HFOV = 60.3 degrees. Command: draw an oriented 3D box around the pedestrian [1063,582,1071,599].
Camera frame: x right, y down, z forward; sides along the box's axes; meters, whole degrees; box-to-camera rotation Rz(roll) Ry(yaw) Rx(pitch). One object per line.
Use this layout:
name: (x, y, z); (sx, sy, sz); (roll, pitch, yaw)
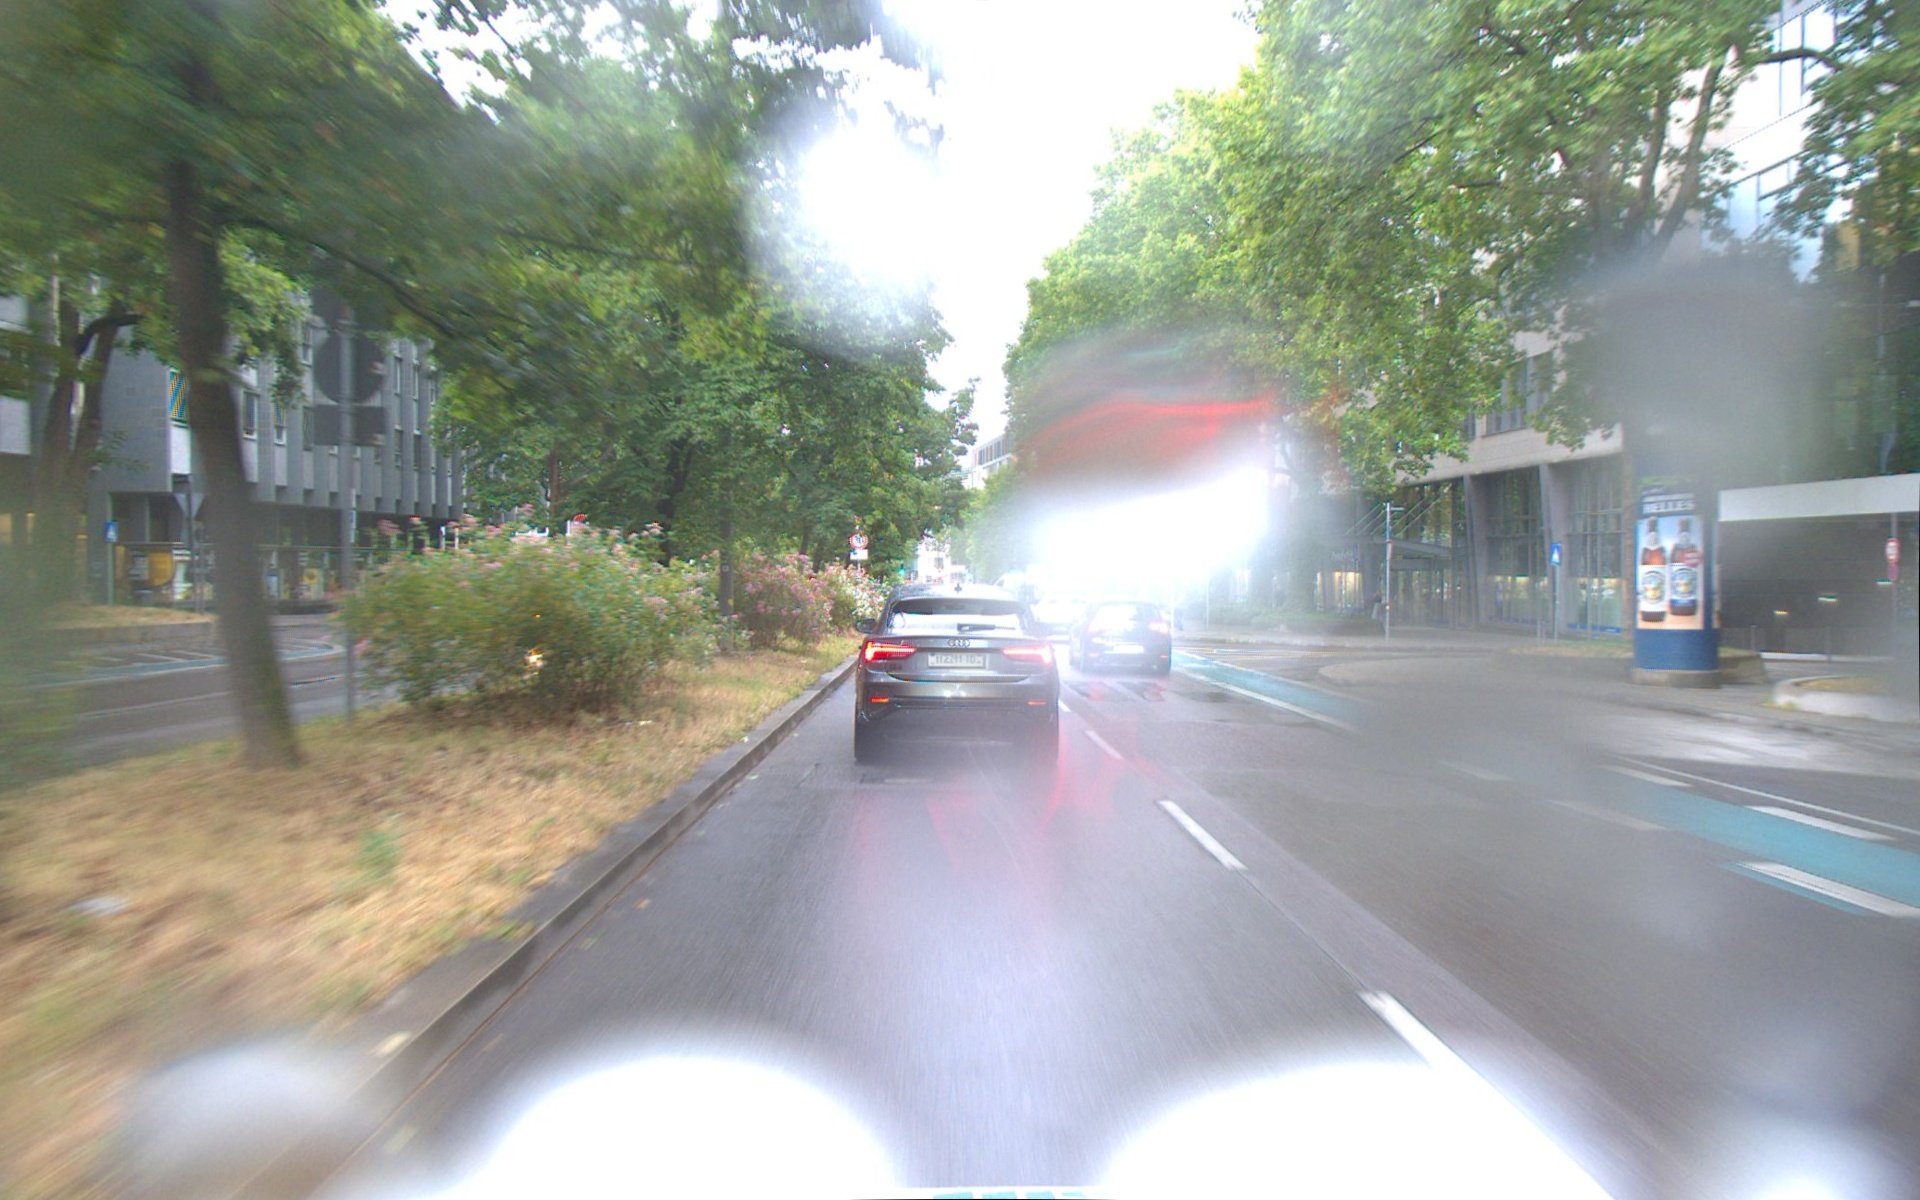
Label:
pedestrian: (11.301, -1.032, 174.938); (0.789, 1.726, 1.187); (1, 0, -1)

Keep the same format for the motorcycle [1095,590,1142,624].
motorcycle: (7.242, 0.316, 75.439); (2.025, 1.453, 0.724); (-2, 2, -23)

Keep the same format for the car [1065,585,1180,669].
car: (3.169, 0.489, 32.926); (1.812, 1.550, 4.038); (1, 0, -1)

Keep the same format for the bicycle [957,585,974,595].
bicycle: (0.751, -1.354, 226.230); (2.294, 1.335, 0.708); (0, 0, -9)

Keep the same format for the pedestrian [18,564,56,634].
pedestrian: (-23.233, -0.017, 41.650); (0.552, 1.738, 0.685); (1, 0, -1)

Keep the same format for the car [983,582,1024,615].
car: (2.130, -0.088, 81.439); (1.812, 1.550, 4.038); (1, 0, -1)

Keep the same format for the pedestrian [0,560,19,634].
pedestrian: (-24.044, -0.087, 41.530); (0.536, 1.838, 0.522); (1, 0, -1)

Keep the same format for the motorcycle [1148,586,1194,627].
motorcycle: (7.607, 0.215, 59.690); (0.672, 1.391, 1.936); (-3, 0, 39)

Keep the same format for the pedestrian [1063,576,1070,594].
pedestrian: (10.848, -1.489, 168.283); (0.542, 1.836, 0.761); (1, -1, -4)

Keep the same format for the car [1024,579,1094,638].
car: (2.995, 0.235, 50.765); (1.812, 1.698, 4.038); (1, 0, -1)

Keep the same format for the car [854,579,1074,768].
car: (-0.024, 0.593, 15.707); (1.812, 1.550, 4.037); (1, 0, -2)

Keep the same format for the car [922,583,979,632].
car: (-0.337, 0.224, 55.577); (1.812, 1.550, 4.038); (1, 0, -1)

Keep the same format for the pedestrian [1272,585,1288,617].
pedestrian: (18.397, 0.055, 95.109); (0.808, 1.835, 0.729); (0, 0, 1)

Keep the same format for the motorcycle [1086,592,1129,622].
motorcycle: (7.129, 0.333, 79.832); (1.929, 1.397, 0.724); (-2, 2, -23)

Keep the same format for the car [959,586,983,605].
car: (0.886, -0.391, 135.161); (1.812, 1.550, 4.038); (1, 0, -1)

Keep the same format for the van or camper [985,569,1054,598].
van or camper: (5.351, -1.520, 149.893); (5.946, 2.603, 2.103); (0, 0, 26)

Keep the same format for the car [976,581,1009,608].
car: (1.951, -0.330, 99.034); (1.812, 1.550, 4.038); (1, 0, -1)

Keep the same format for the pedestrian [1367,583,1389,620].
pedestrian: (19.886, 0.055, 78.739); (0.716, 1.722, 0.823); (0, 1, 41)

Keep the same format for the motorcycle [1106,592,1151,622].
motorcycle: (7.453, 0.310, 73.075); (2.038, 1.234, 0.676); (-3, 0, -37)
